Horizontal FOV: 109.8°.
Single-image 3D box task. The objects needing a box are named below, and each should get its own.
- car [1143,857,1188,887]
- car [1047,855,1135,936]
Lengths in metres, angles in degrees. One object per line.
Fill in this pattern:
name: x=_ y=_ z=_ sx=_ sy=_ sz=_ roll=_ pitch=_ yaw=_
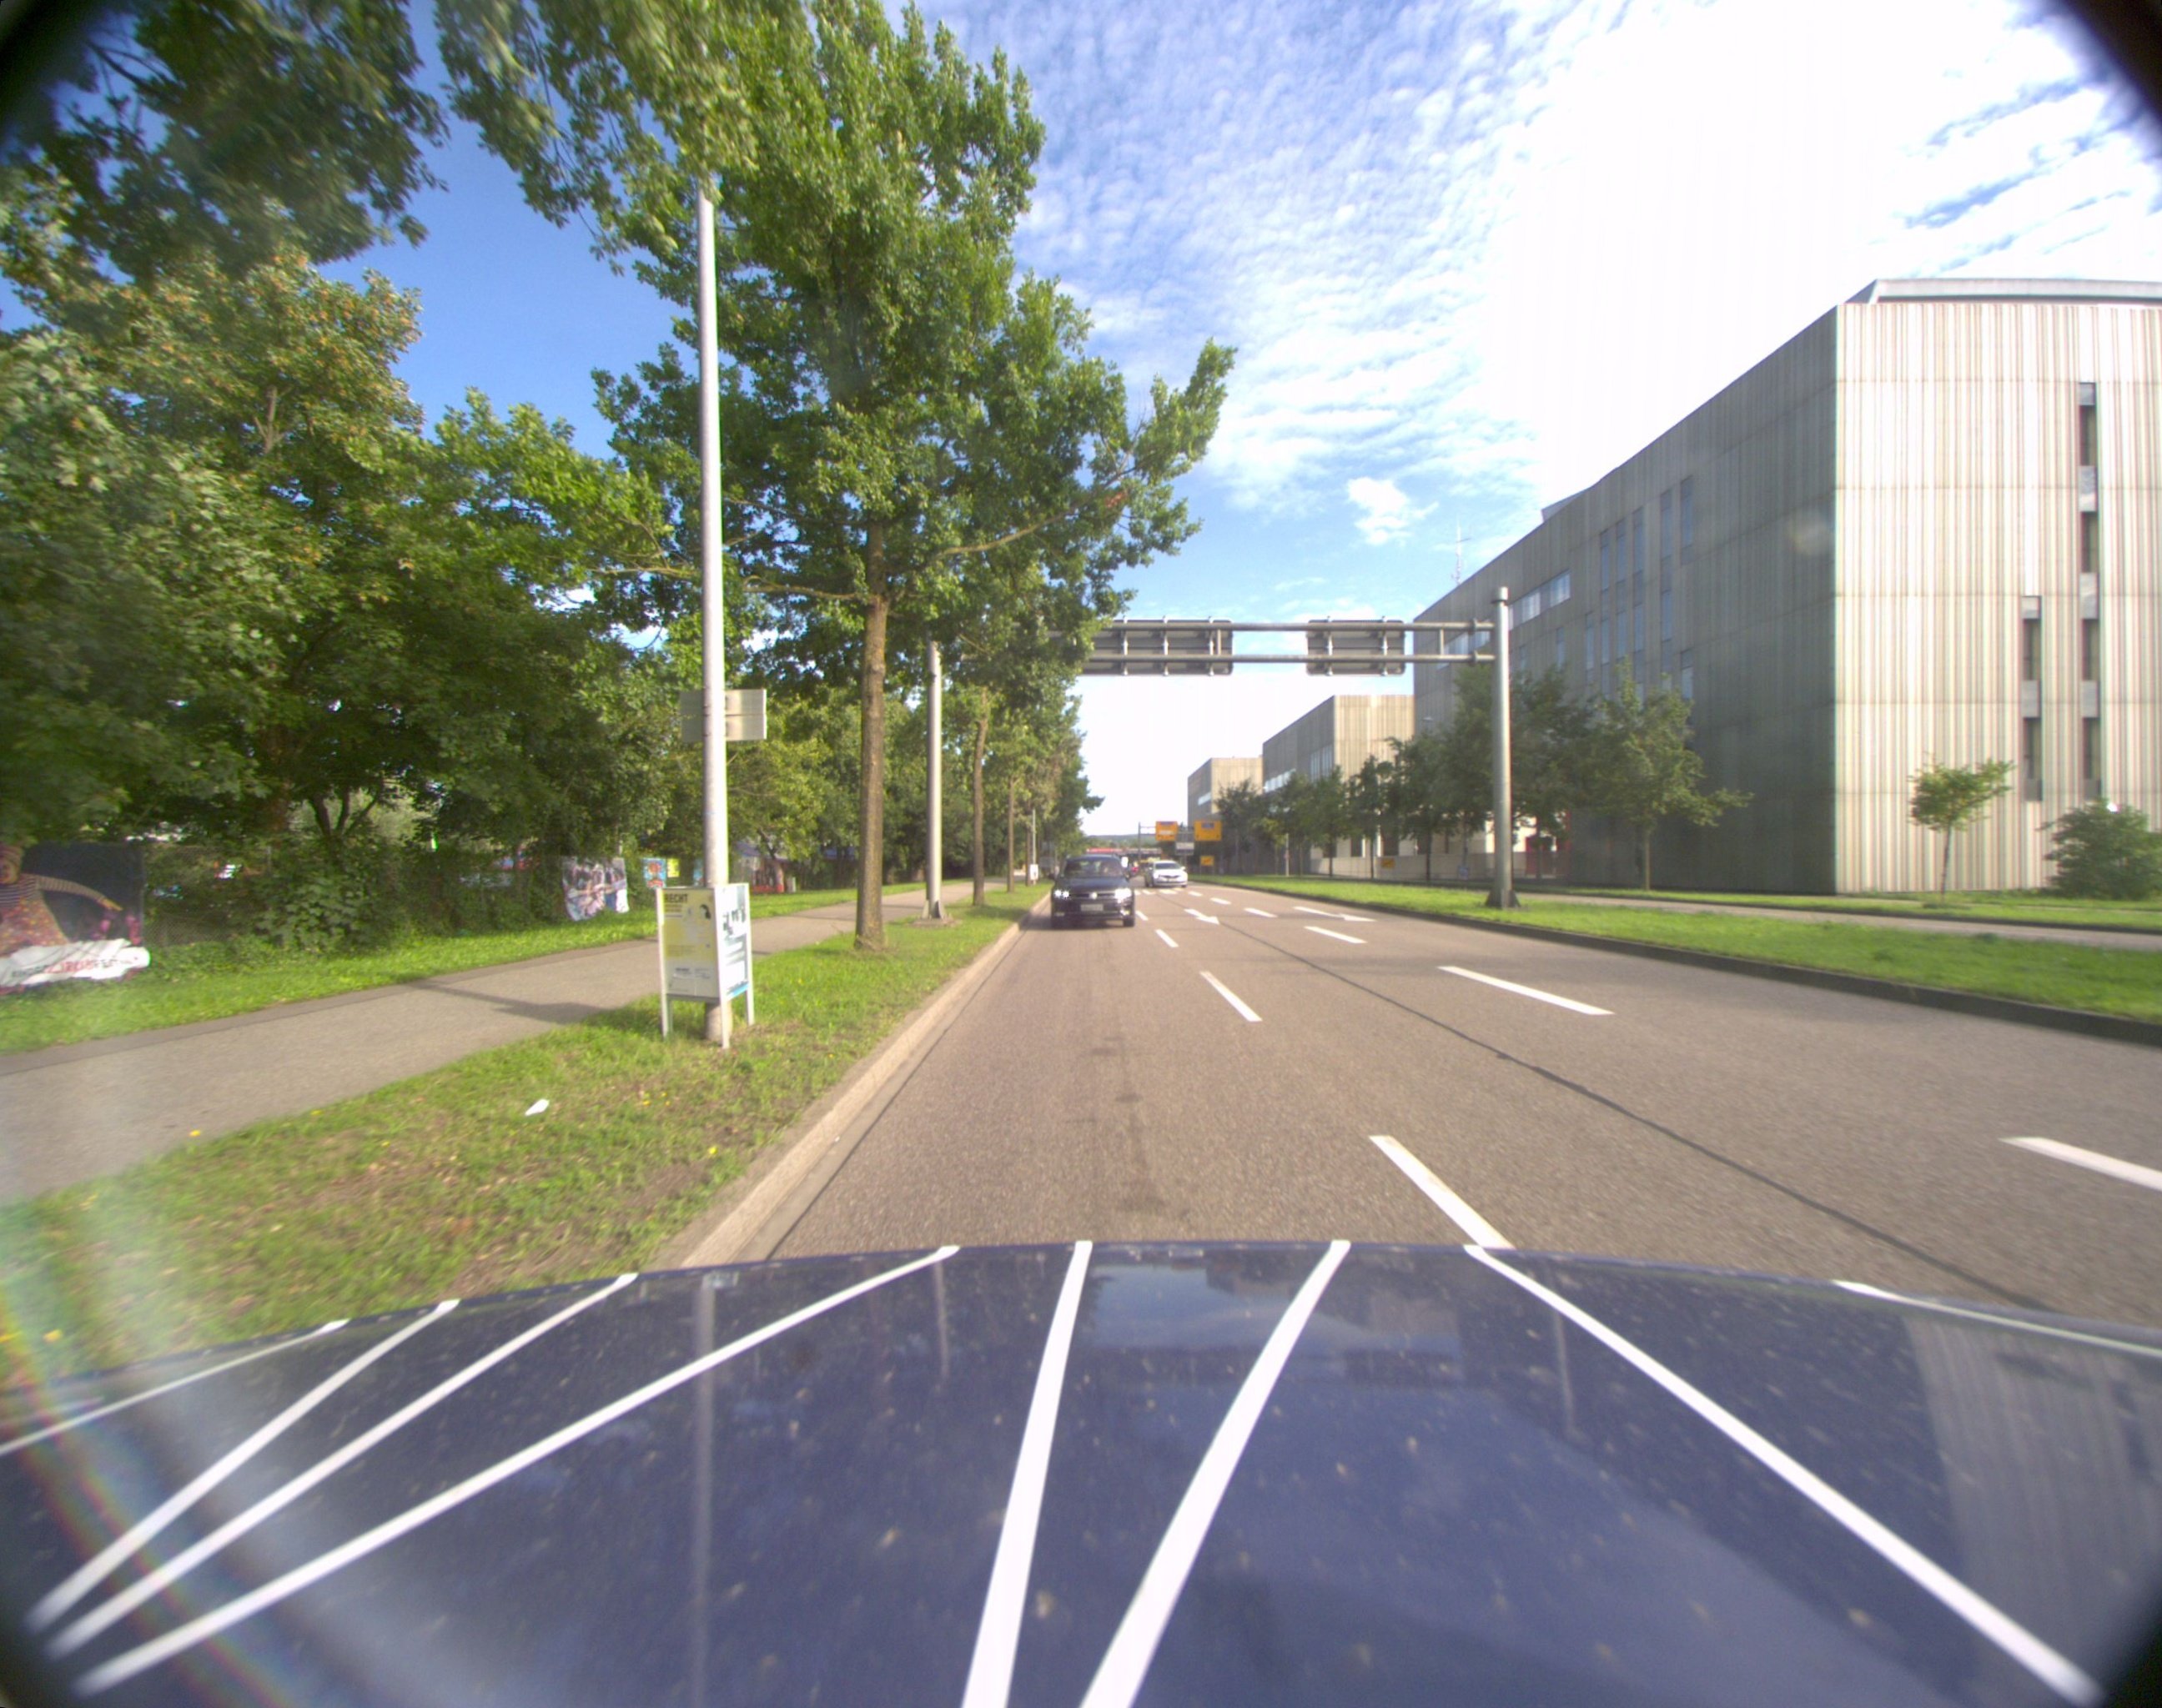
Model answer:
car: x=4.540 y=0.935 z=41.390 sx=1.703 sy=1.489 sz=4.480 roll=-1 pitch=0 yaw=-3
car: x=0.236 y=0.871 z=17.862 sx=1.775 sy=1.637 sz=3.869 roll=-2 pitch=0 yaw=1
